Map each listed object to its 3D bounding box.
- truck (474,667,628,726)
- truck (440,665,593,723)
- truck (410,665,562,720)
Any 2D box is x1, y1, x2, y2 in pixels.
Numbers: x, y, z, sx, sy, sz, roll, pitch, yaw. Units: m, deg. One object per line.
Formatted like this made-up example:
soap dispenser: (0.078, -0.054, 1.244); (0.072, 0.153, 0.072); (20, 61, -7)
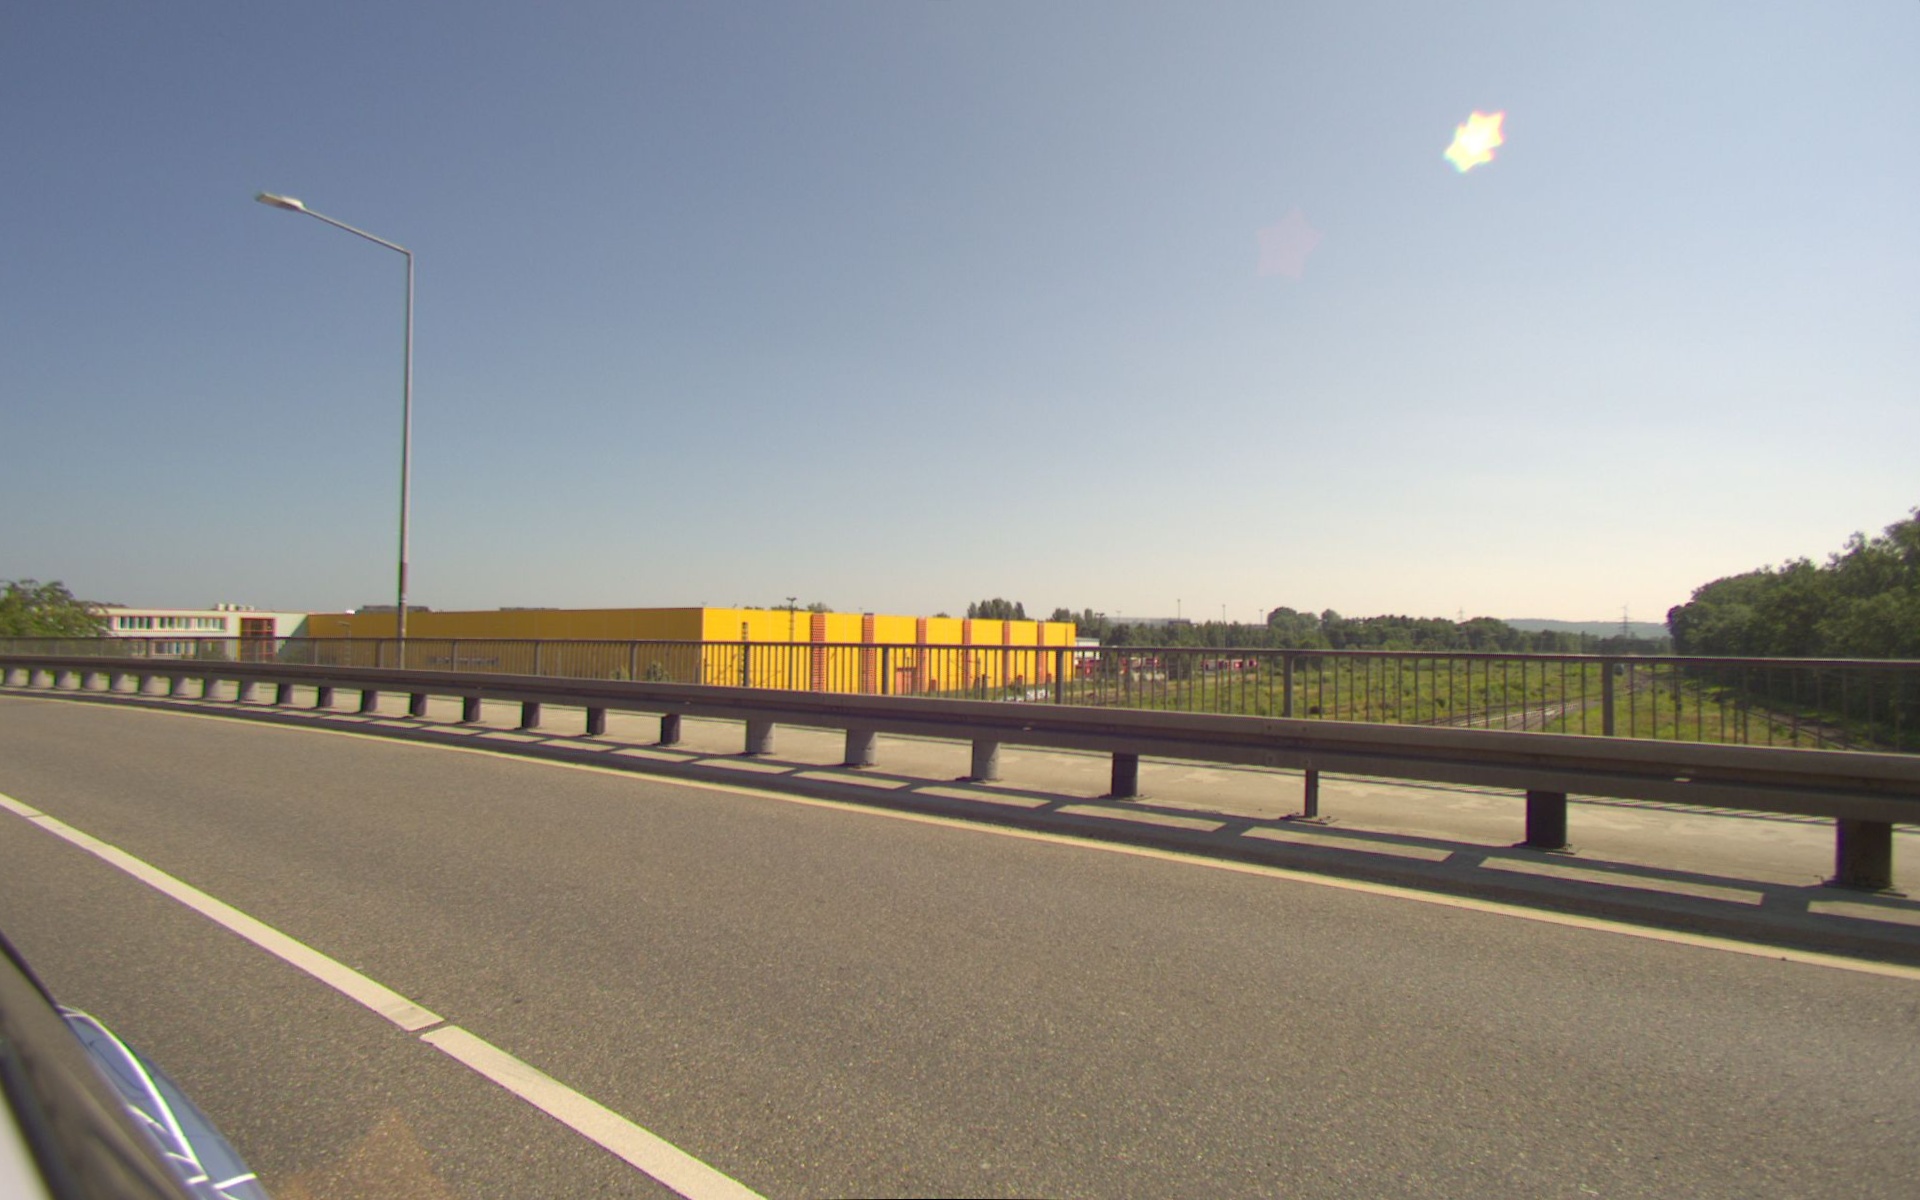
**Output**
truck: (-49.041, 11.409, 122.491); (5.953, 5.719, 17.368); (-1, -1, 30)
truck: (-54.612, 11.420, 125.687); (5.766, 5.719, 17.368); (-1, -1, 30)
truck: (-59.988, 11.541, 129.069); (5.953, 5.719, 17.368); (-1, -1, 30)
